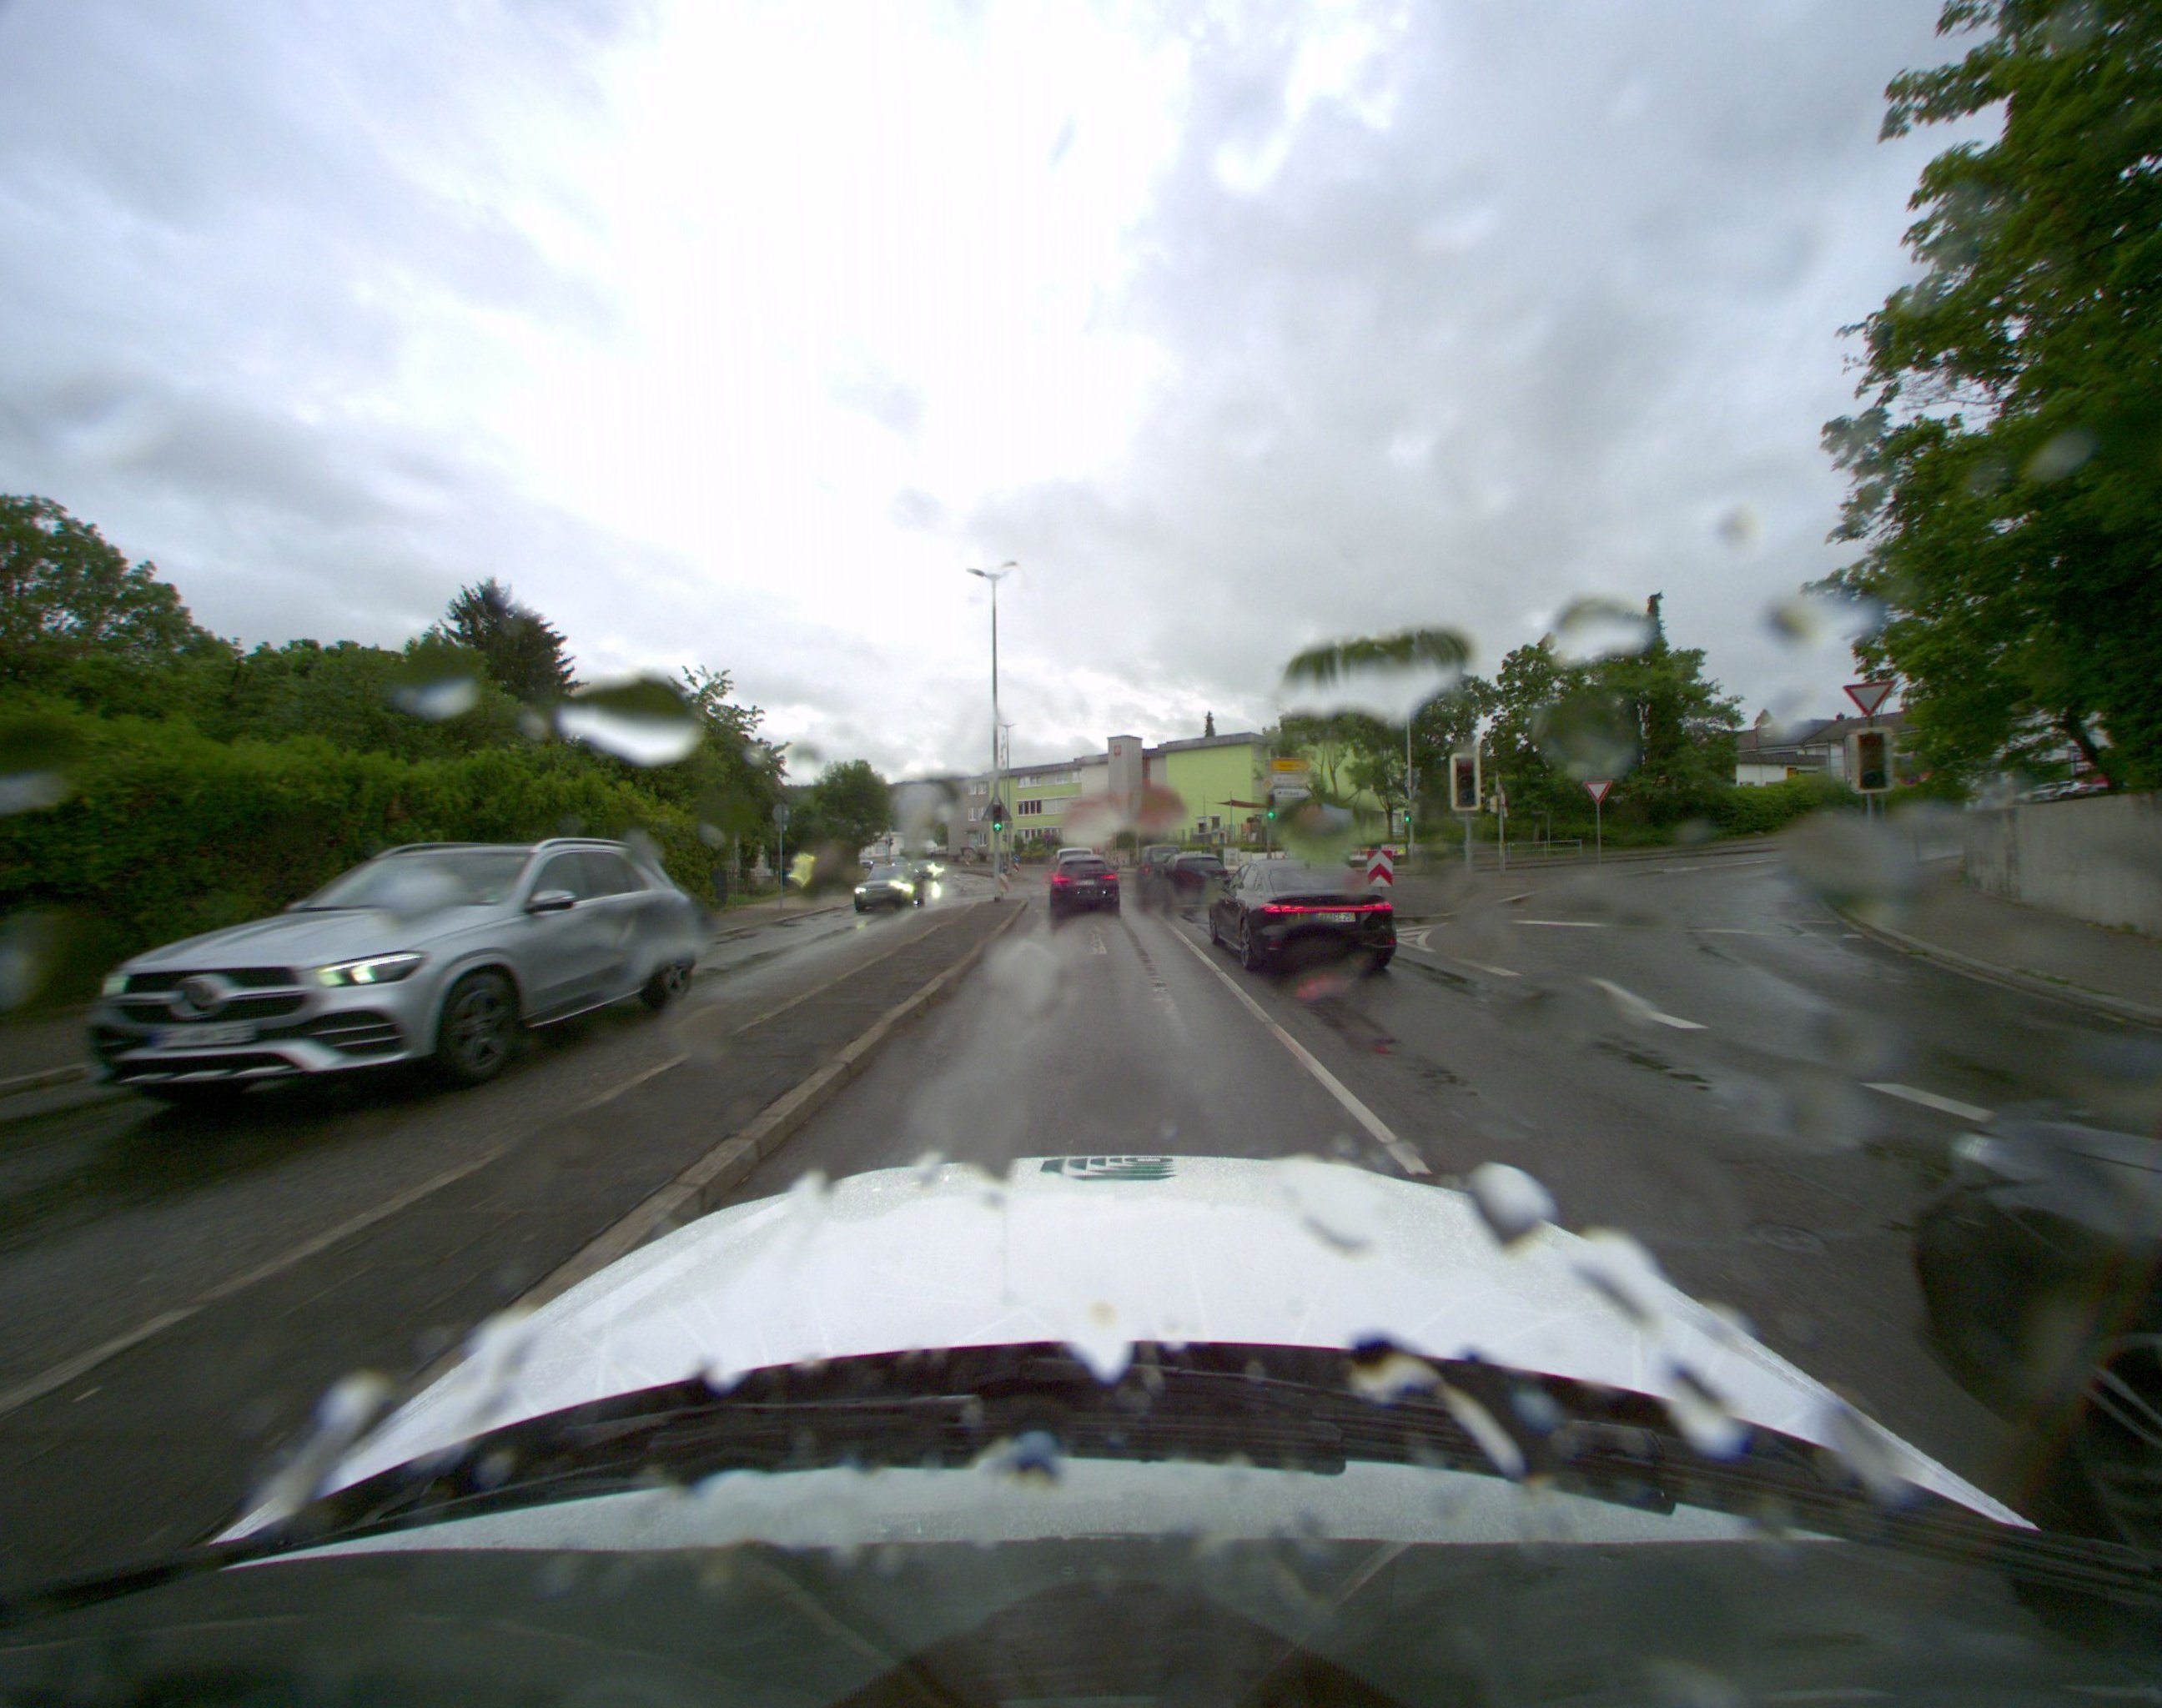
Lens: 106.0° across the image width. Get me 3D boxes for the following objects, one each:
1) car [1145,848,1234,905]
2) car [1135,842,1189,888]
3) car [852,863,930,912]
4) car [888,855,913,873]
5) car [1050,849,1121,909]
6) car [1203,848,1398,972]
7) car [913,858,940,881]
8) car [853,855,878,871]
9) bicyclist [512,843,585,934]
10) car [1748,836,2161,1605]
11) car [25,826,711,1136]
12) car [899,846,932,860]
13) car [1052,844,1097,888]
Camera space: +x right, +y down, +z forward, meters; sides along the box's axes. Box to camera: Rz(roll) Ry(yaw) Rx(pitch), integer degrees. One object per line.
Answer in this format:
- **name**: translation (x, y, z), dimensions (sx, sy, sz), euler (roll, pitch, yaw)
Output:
- **car**: translation (3.147, 0.604, 24.448), dimensions (1.846, 1.486, 4.081), euler (-2, 0, -4)
- **car**: translation (3.289, 0.412, 33.816), dimensions (1.777, 1.734, 4.086), euler (-2, 1, 0)
- **car**: translation (-6.370, 1.073, 27.756), dimensions (1.734, 1.437, 4.551), euler (-3, 0, -3)
- **car**: translation (-16.867, 0.928, 76.038), dimensions (1.855, 1.564, 3.975), euler (-2, 0, -18)
- **car**: translation (0.043, 0.634, 23.048), dimensions (1.679, 1.506, 3.768), euler (-2, 0, -4)
- **car**: translation (2.936, 0.643, 11.880), dimensions (1.700, 1.427, 4.510), euler (-1, 0, 1)
- **car**: translation (-11.266, 1.134, 59.558), dimensions (1.793, 1.489, 4.139), euler (-3, 0, -10)
- **car**: translation (-23.511, 1.003, 88.836), dimensions (1.630, 1.581, 3.738), euler (-3, 0, -29)
- **bicyclist**: translation (-9.701, 0.609, 14.864), dimensions (0.762, 1.612, 0.868), euler (0, 0, -1)
- **car**: translation (2.990, 0.700, 0.122), dimensions (1.899, 1.458, 4.778), euler (-1, 0, 1)
- **car**: translation (-5.189, 0.710, 7.039), dimensions (2.036, 1.716, 4.477), euler (-3, 1, -3)
- **car**: translation (-23.119, -0.138, 113.753), dimensions (4.405, 1.772, 1.989), euler (-4, 0, -17)
- **car**: translation (-0.336, 0.507, 37.032), dimensions (1.714, 1.844, 4.080), euler (1, 1, -5)
